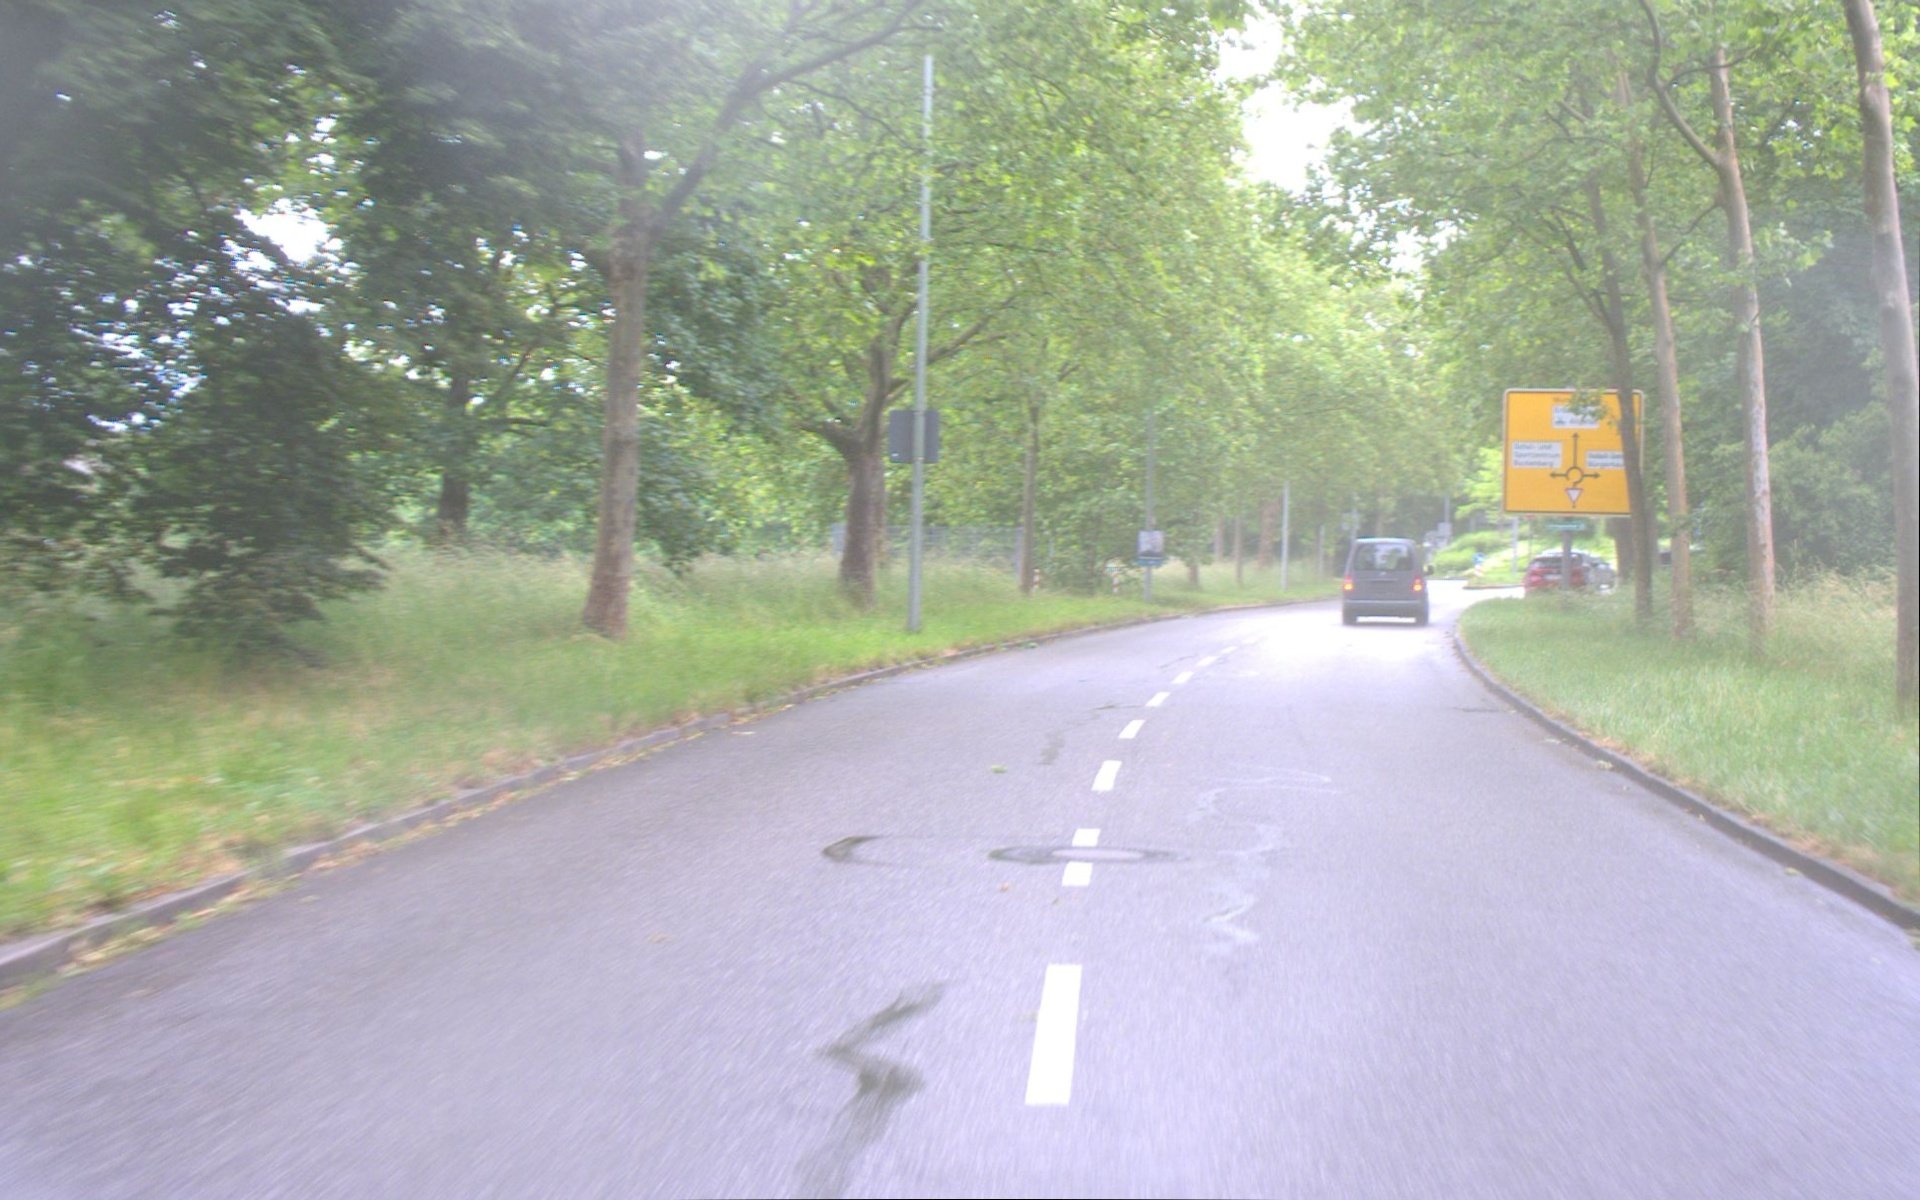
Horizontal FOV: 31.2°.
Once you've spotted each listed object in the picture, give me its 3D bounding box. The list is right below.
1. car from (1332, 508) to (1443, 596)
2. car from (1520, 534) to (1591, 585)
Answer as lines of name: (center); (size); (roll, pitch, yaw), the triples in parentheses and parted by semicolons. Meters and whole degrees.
car: (9.160, -1.034, 73.495); (1.919, 1.795, 3.788); (2, 1, 13)
car: (16.464, -1.100, 94.963); (1.798, 1.367, 3.742); (0, 0, 12)
